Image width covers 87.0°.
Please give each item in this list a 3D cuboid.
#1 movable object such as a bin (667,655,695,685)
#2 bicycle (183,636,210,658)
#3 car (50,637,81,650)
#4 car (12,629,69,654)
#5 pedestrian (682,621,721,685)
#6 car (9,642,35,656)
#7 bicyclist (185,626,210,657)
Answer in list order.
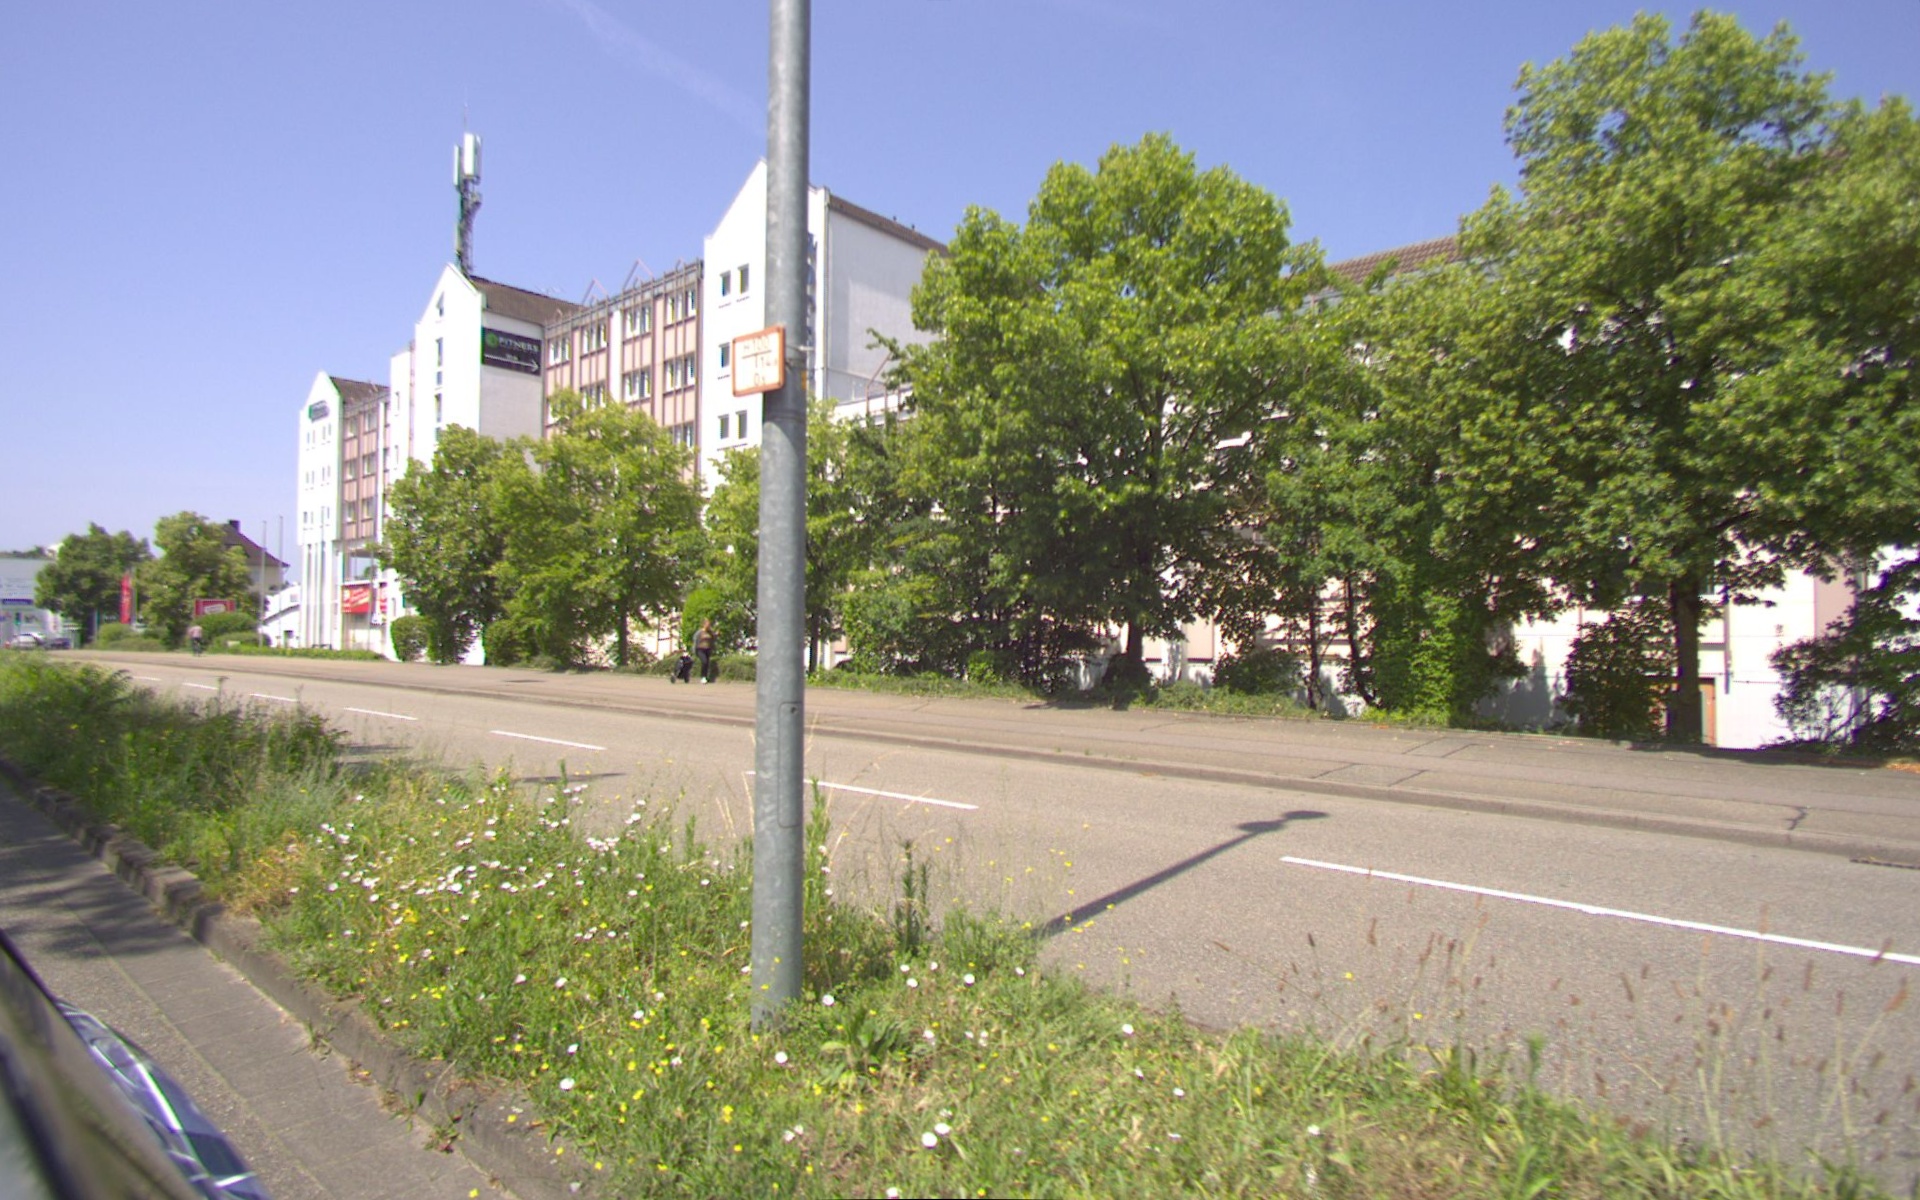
[{"bbox_3d":[-6.942,1.735,25.152,0.423,0.711,0.653,3,-3,-41],"label":"movable object such as a bin"},{"bbox_3d":[-38.389,2.338,50.858,2.060,1.081,0.545,-1,-2,38],"label":"bicycle"},{"bbox_3d":[-94.338,4.560,106.698,3.995,1.362,1.715,-2,-3,38],"label":"car"},{"bbox_3d":[-104.870,4.714,115.544,4.499,1.718,1.763,-18,12,-39],"label":"car"},{"bbox_3d":[-6.422,1.315,25.135,0.727,1.556,0.626,-1,-3,40],"label":"pedestrian"},{"bbox_3d":[-97.037,5.101,104.662,4.760,1.421,1.756,-3,-4,44],"label":"car"},{"bbox_3d":[-38.301,2.101,50.829,1.025,1.528,0.710,-1,-3,37],"label":"bicyclist"}]
